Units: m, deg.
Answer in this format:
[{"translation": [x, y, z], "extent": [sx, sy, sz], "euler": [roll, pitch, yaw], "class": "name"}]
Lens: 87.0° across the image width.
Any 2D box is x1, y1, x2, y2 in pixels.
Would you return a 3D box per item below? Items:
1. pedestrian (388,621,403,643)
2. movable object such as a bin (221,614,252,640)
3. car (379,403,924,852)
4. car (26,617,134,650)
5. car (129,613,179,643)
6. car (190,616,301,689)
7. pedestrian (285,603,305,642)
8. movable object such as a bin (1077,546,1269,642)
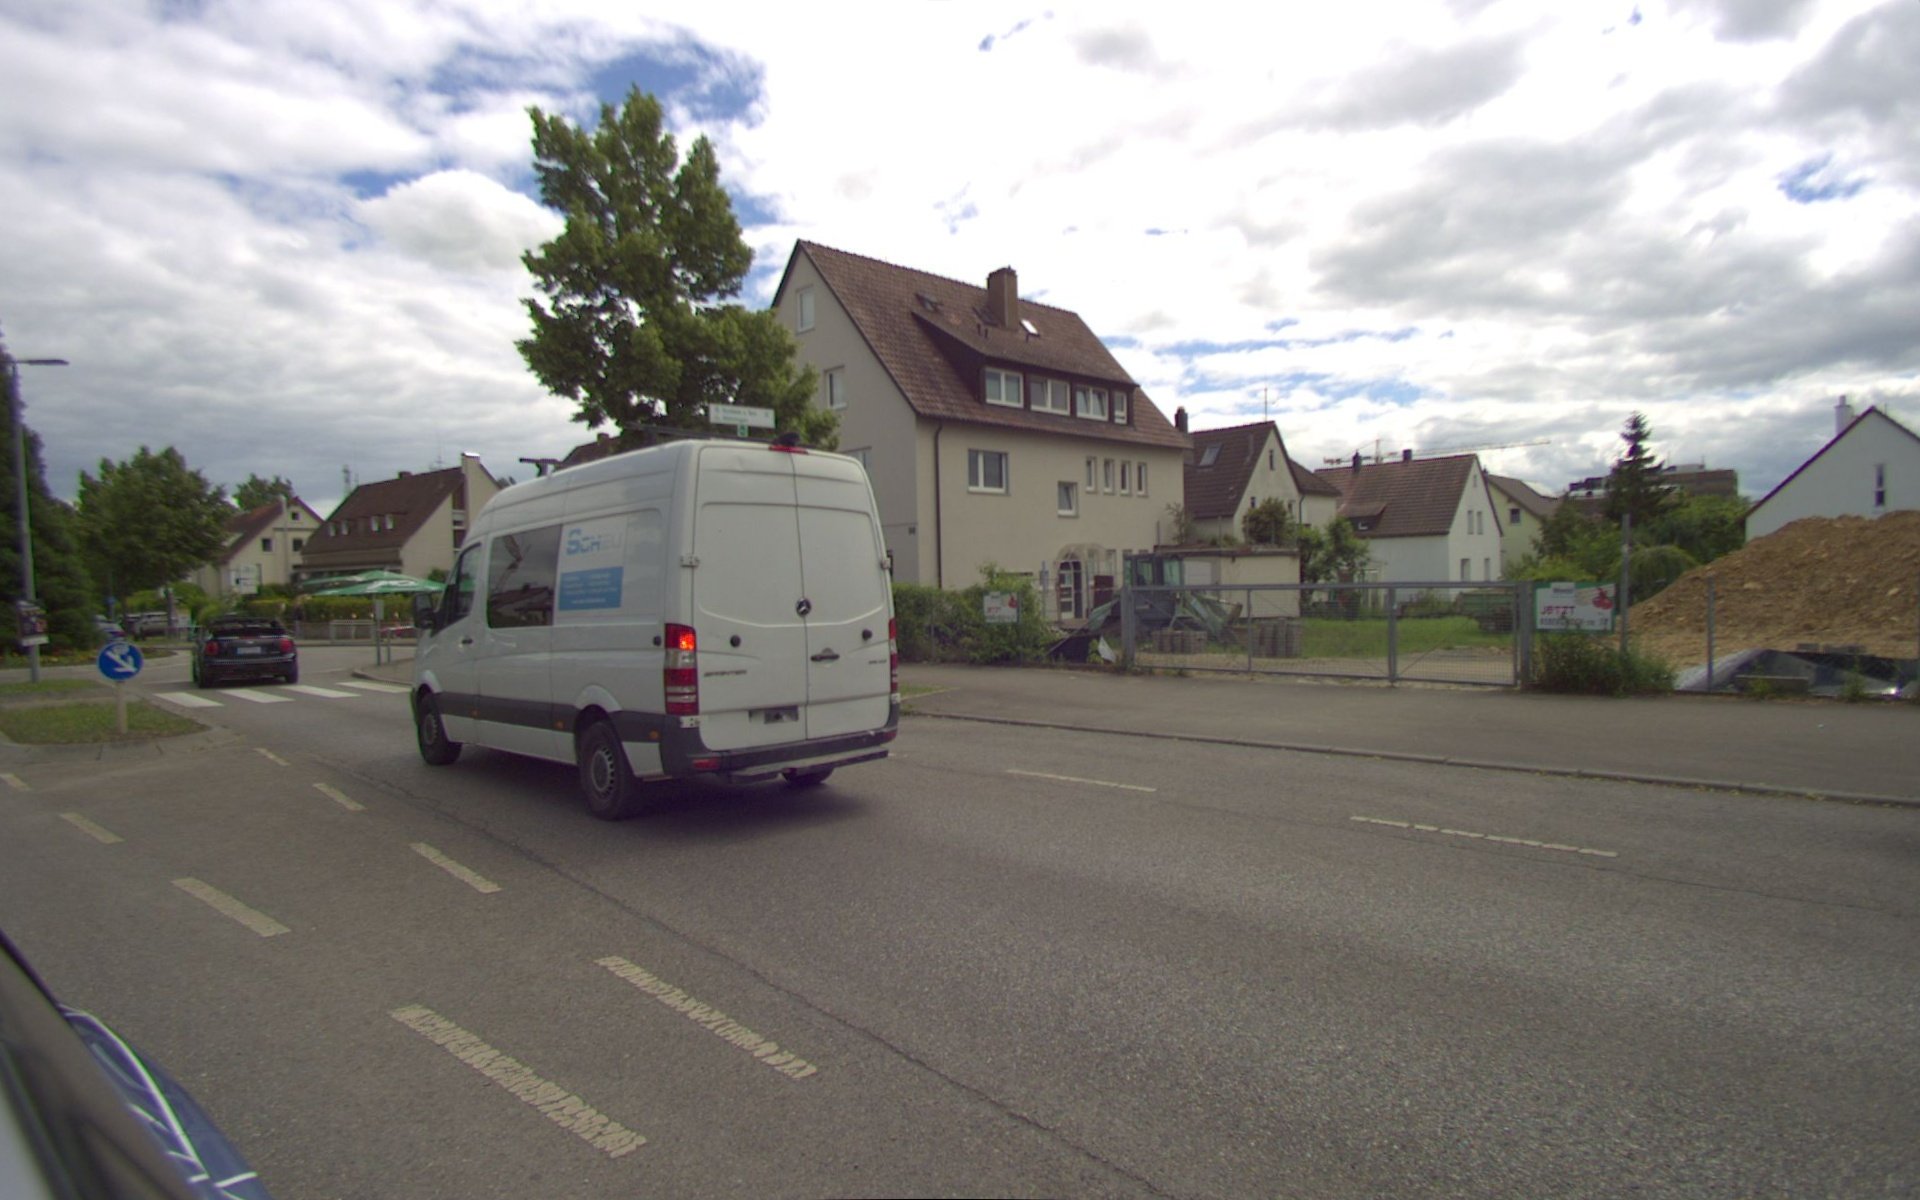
[{"translation": [-25.562, 1.453, 45.861], "extent": [0.423, 0.919, 0.340], "euler": [-3, 2, 5], "class": "pedestrian"}, {"translation": [-42.543, 1.602, 59.522], "extent": [2.723, 1.427, 0.970], "euler": [-2, 0, 44], "class": "movable object such as a bin"}, {"translation": [-3.053, 0.200, 8.836], "extent": [5.808, 2.694, 1.996], "euler": [-2, 0, 45], "class": "car"}, {"translation": [-38.750, 1.452, 44.575], "extent": [4.471, 1.382, 1.604], "euler": [0, 0, 19], "class": "car"}, {"translation": [-47.219, 1.649, 59.253], "extent": [4.048, 1.648, 1.727], "euler": [-2, 0, 44], "class": "car"}, {"translation": [-15.472, 1.073, 21.842], "extent": [1.554, 1.372, 3.748], "euler": [-2, 0, -41], "class": "car"}, {"translation": [-32.521, 1.100, 49.490], "extent": [0.628, 1.840, 0.567], "euler": [-3, 1, -43], "class": "pedestrian"}, {"translation": [5.299, -0.122, 25.490], "extent": [4.360, 2.204, 1.876], "euler": [-1, 0, 41], "class": "movable object such as a bin"}]
